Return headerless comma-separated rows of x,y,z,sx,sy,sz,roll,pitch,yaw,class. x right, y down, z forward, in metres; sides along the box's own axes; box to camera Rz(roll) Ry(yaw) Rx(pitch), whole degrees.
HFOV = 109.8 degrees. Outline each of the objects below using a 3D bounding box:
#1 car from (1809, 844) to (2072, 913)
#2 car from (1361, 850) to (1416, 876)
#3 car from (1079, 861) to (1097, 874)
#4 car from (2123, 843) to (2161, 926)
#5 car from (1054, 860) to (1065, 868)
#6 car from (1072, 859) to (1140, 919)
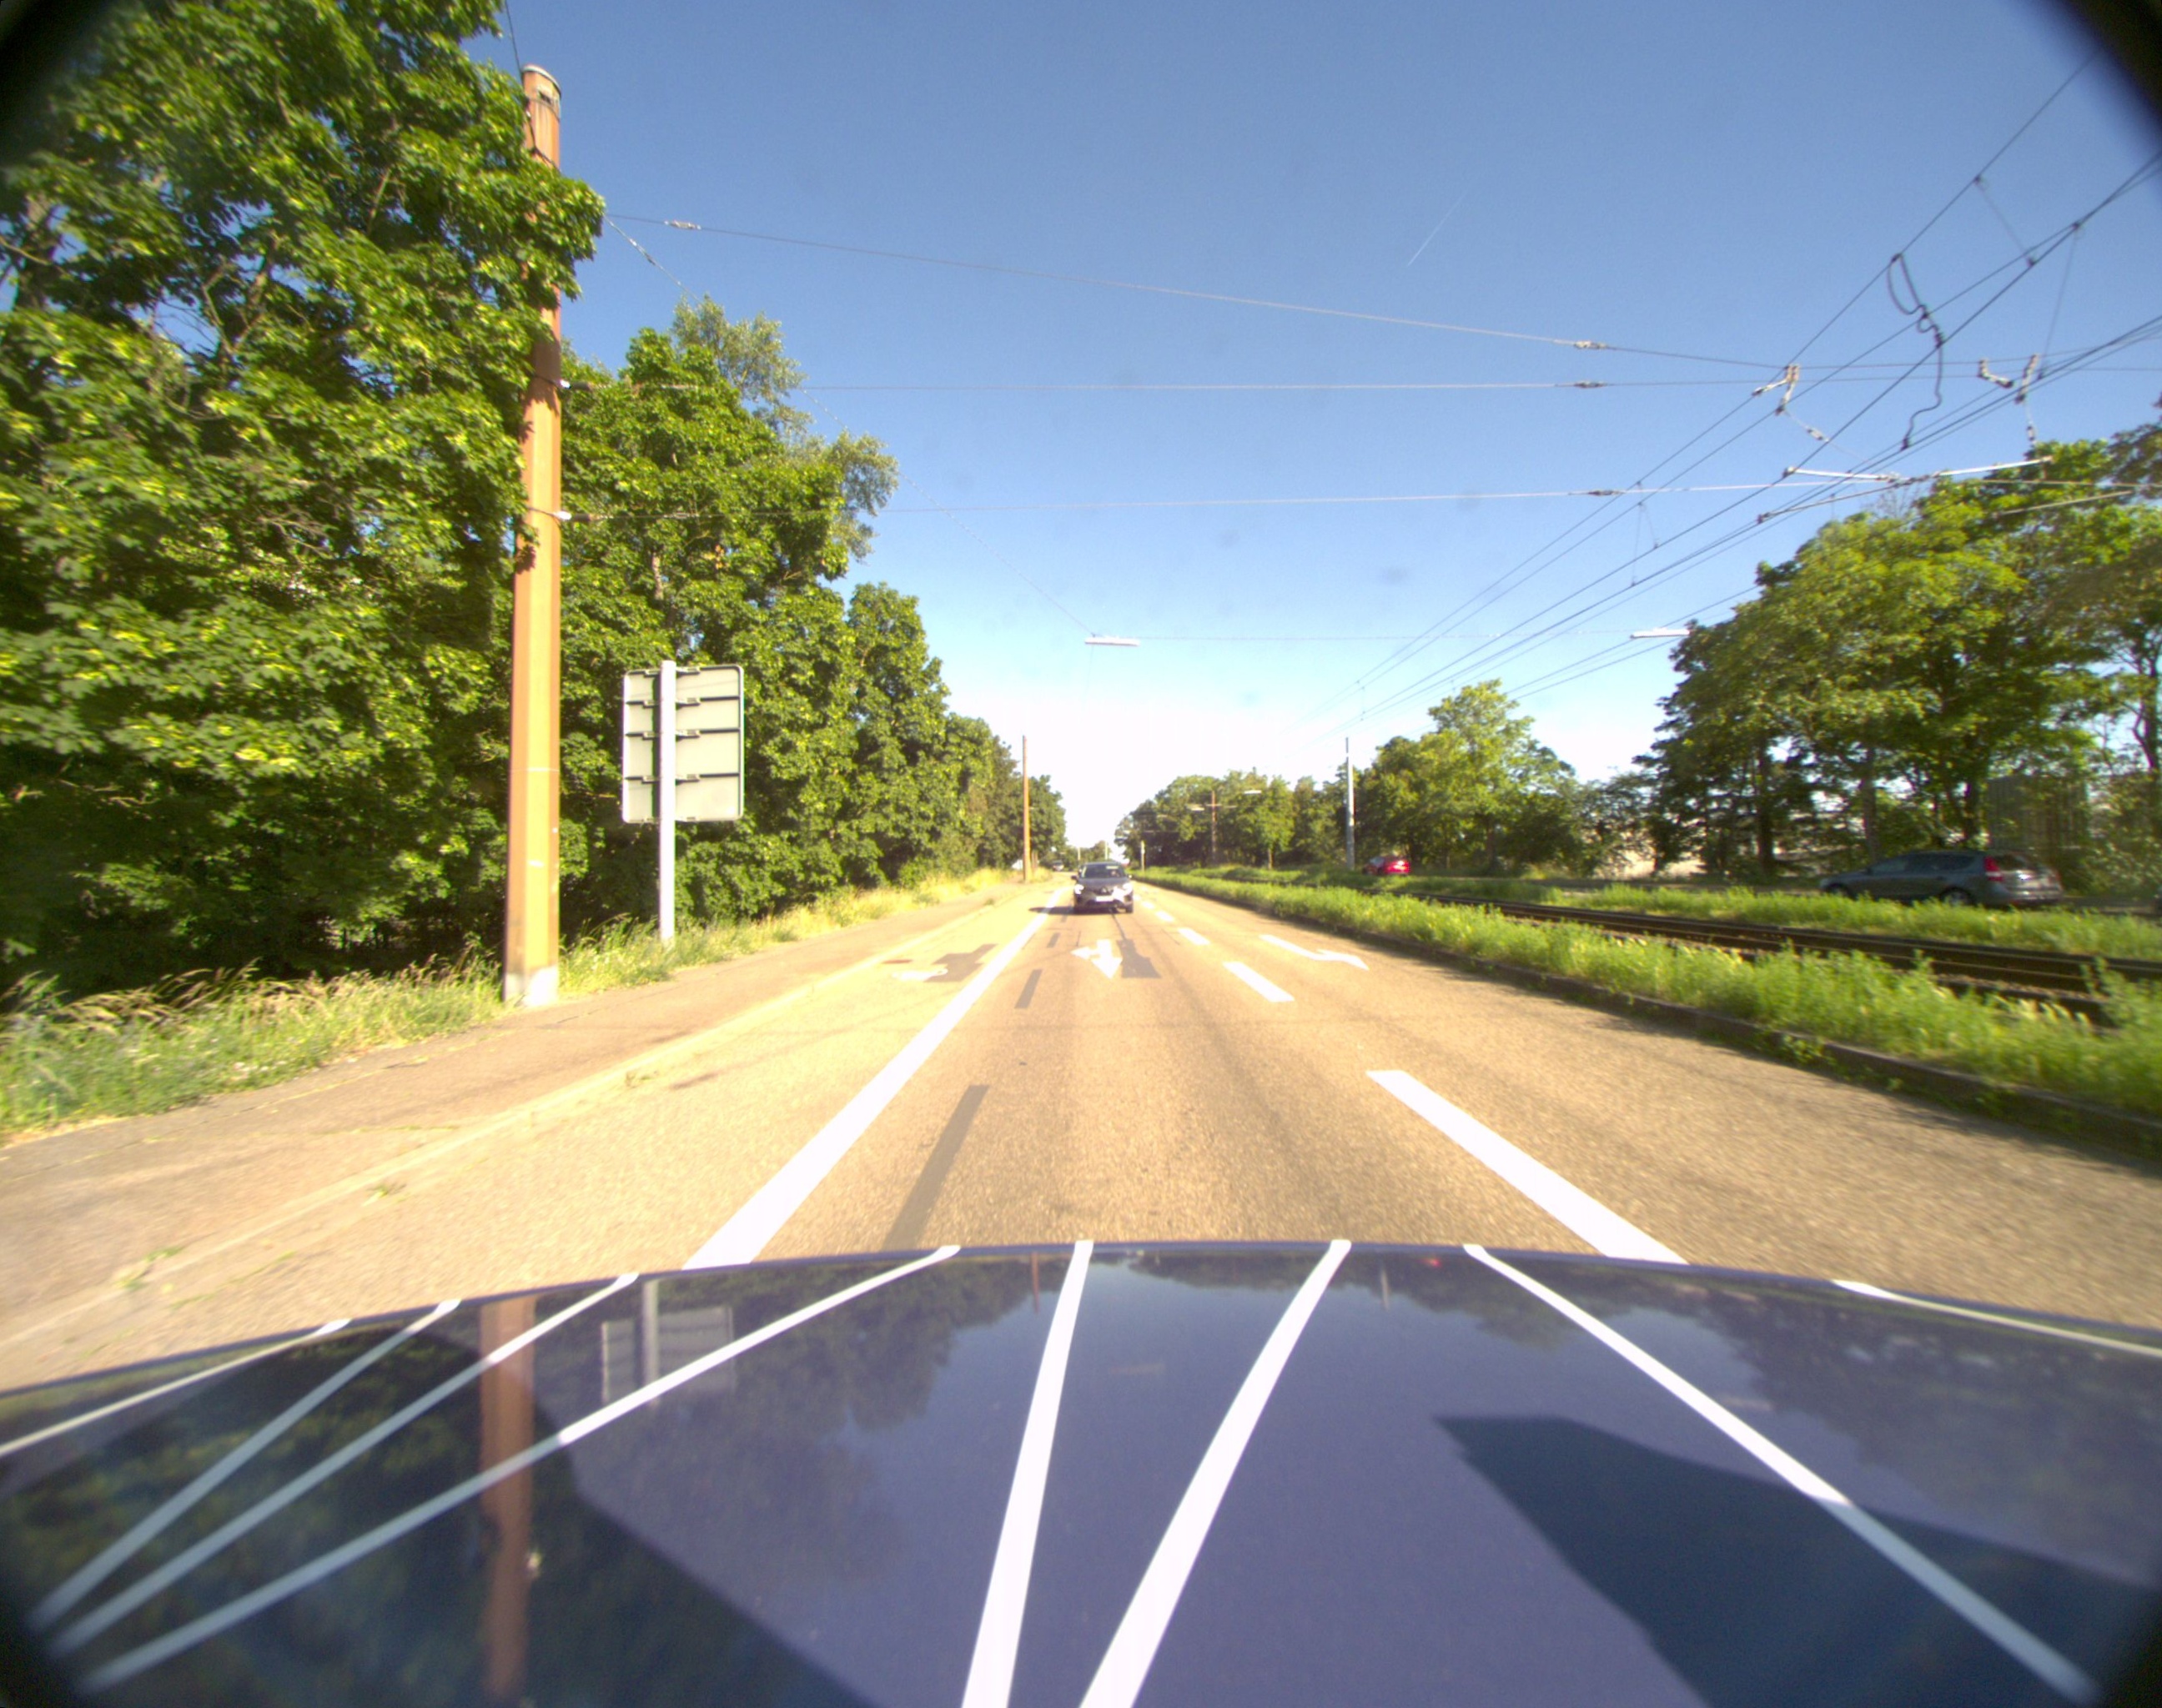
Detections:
21.518,0.548,19.357,1.740,1.485,4.327,-3,0,-1,car
21.449,0.588,53.255,2.009,1.692,4.466,-1,0,0,car
0.900,1.694,99.376,1.999,1.577,3.999,-2,0,-2,car
21.347,0.538,12.607,1.999,1.565,4.435,-1,-1,0,car
-4.578,2.142,159.570,2.000,1.577,3.998,-2,0,-6,car
0.731,0.993,23.507,1.822,1.589,4.413,-2,0,1,car
